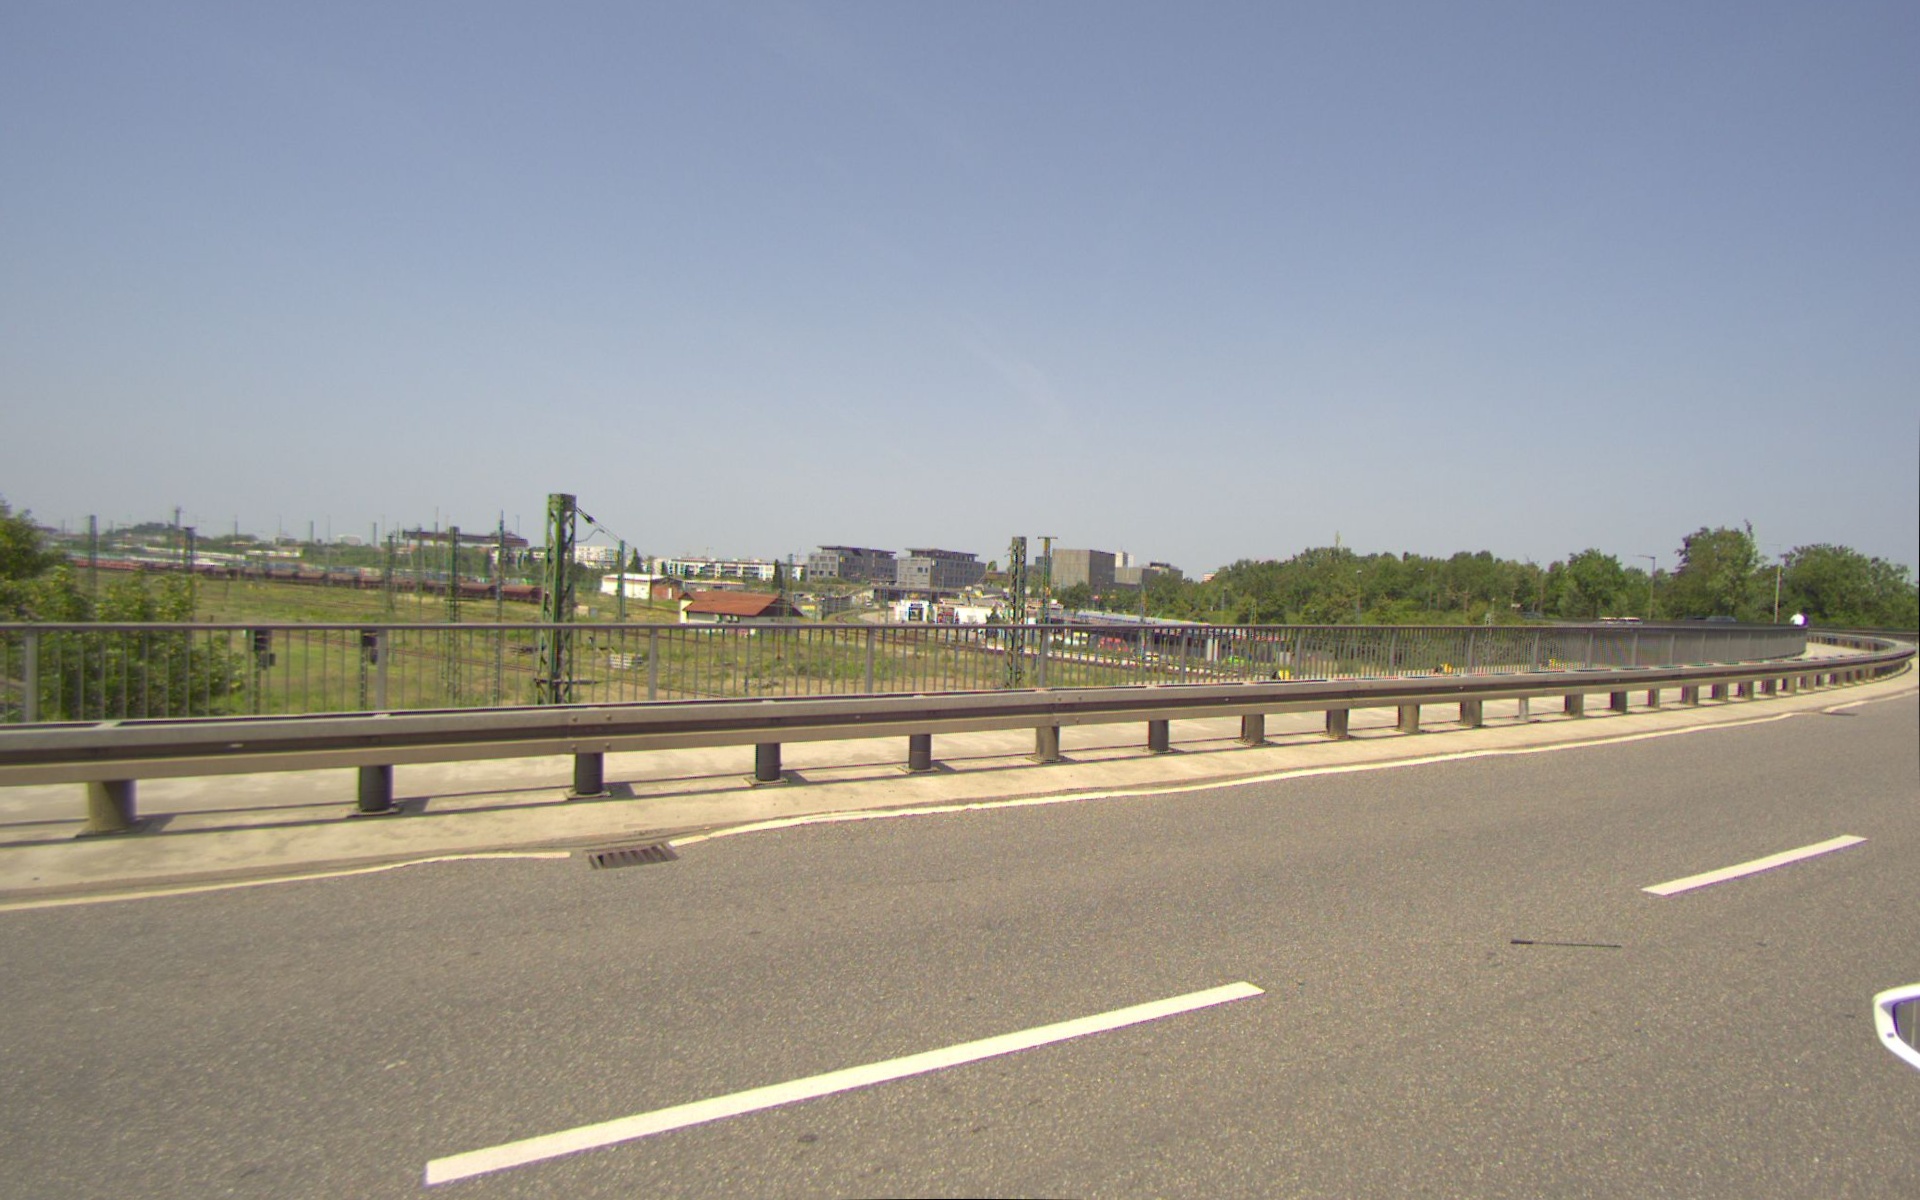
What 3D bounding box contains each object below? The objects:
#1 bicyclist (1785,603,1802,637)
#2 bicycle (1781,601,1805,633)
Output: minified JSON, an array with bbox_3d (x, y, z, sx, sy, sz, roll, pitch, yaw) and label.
[{"bbox_3d":[48.891,1.168,58.933,0.615,1.911,0.711,1,1,30],"label":"bicyclist"},{"bbox_3d":[48.977,0.977,59.073,0.688,1.826,2.177,1,1,29],"label":"bicycle"}]
